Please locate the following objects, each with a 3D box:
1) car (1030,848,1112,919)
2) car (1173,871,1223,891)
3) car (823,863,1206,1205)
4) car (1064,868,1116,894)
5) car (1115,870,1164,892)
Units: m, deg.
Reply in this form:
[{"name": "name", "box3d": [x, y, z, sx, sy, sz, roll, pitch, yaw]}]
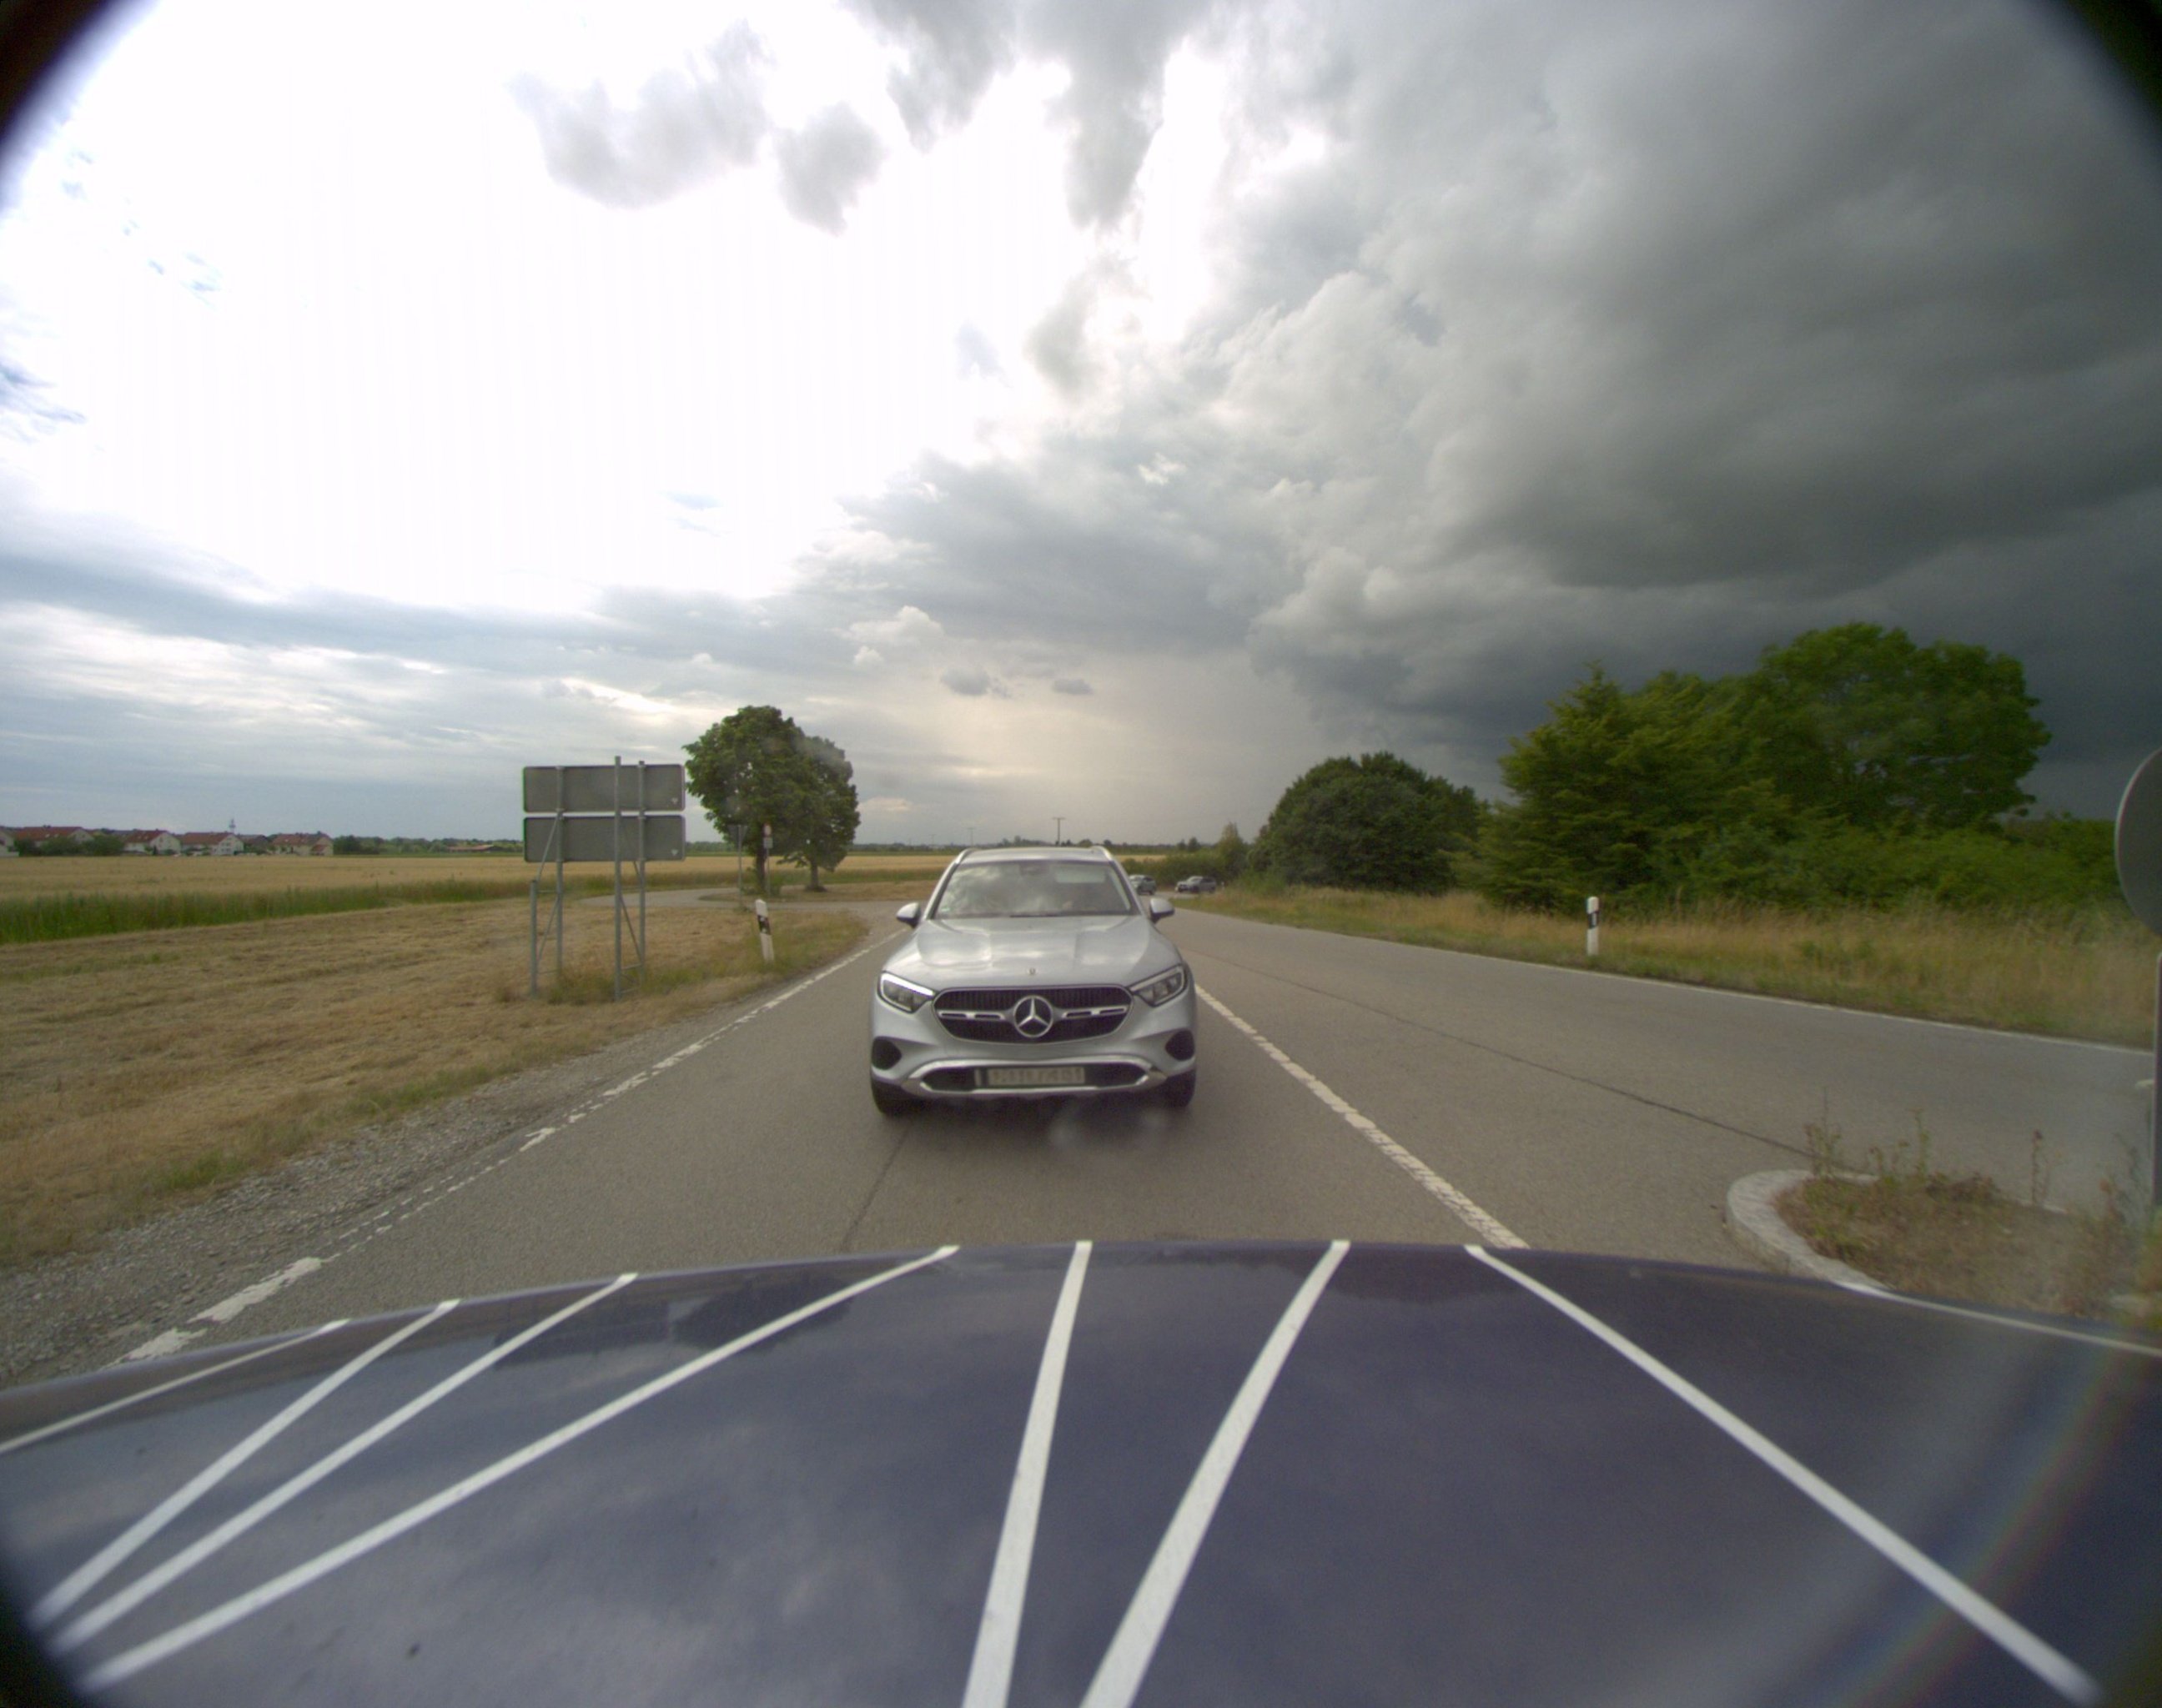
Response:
[{"name": "car", "box3d": [-0.394, 0.856, 22.227, 1.999, 1.709, 5.208, 4, -2, -3]}, {"name": "car", "box3d": [11.378, 2.601, 73.650, 1.994, 1.710, 5.220, 3, 2, 45]}, {"name": "car", "box3d": [-0.416, 0.900, 5.952, 1.837, 1.577, 4.449, -1, 0, -3]}, {"name": "car", "box3d": [0.738, 1.944, 55.454, 1.995, 1.709, 5.218, 3, -1, 22]}, {"name": "car", "box3d": [5.005, 2.311, 64.157, 1.994, 1.709, 5.220, 3, -1, 29]}]
